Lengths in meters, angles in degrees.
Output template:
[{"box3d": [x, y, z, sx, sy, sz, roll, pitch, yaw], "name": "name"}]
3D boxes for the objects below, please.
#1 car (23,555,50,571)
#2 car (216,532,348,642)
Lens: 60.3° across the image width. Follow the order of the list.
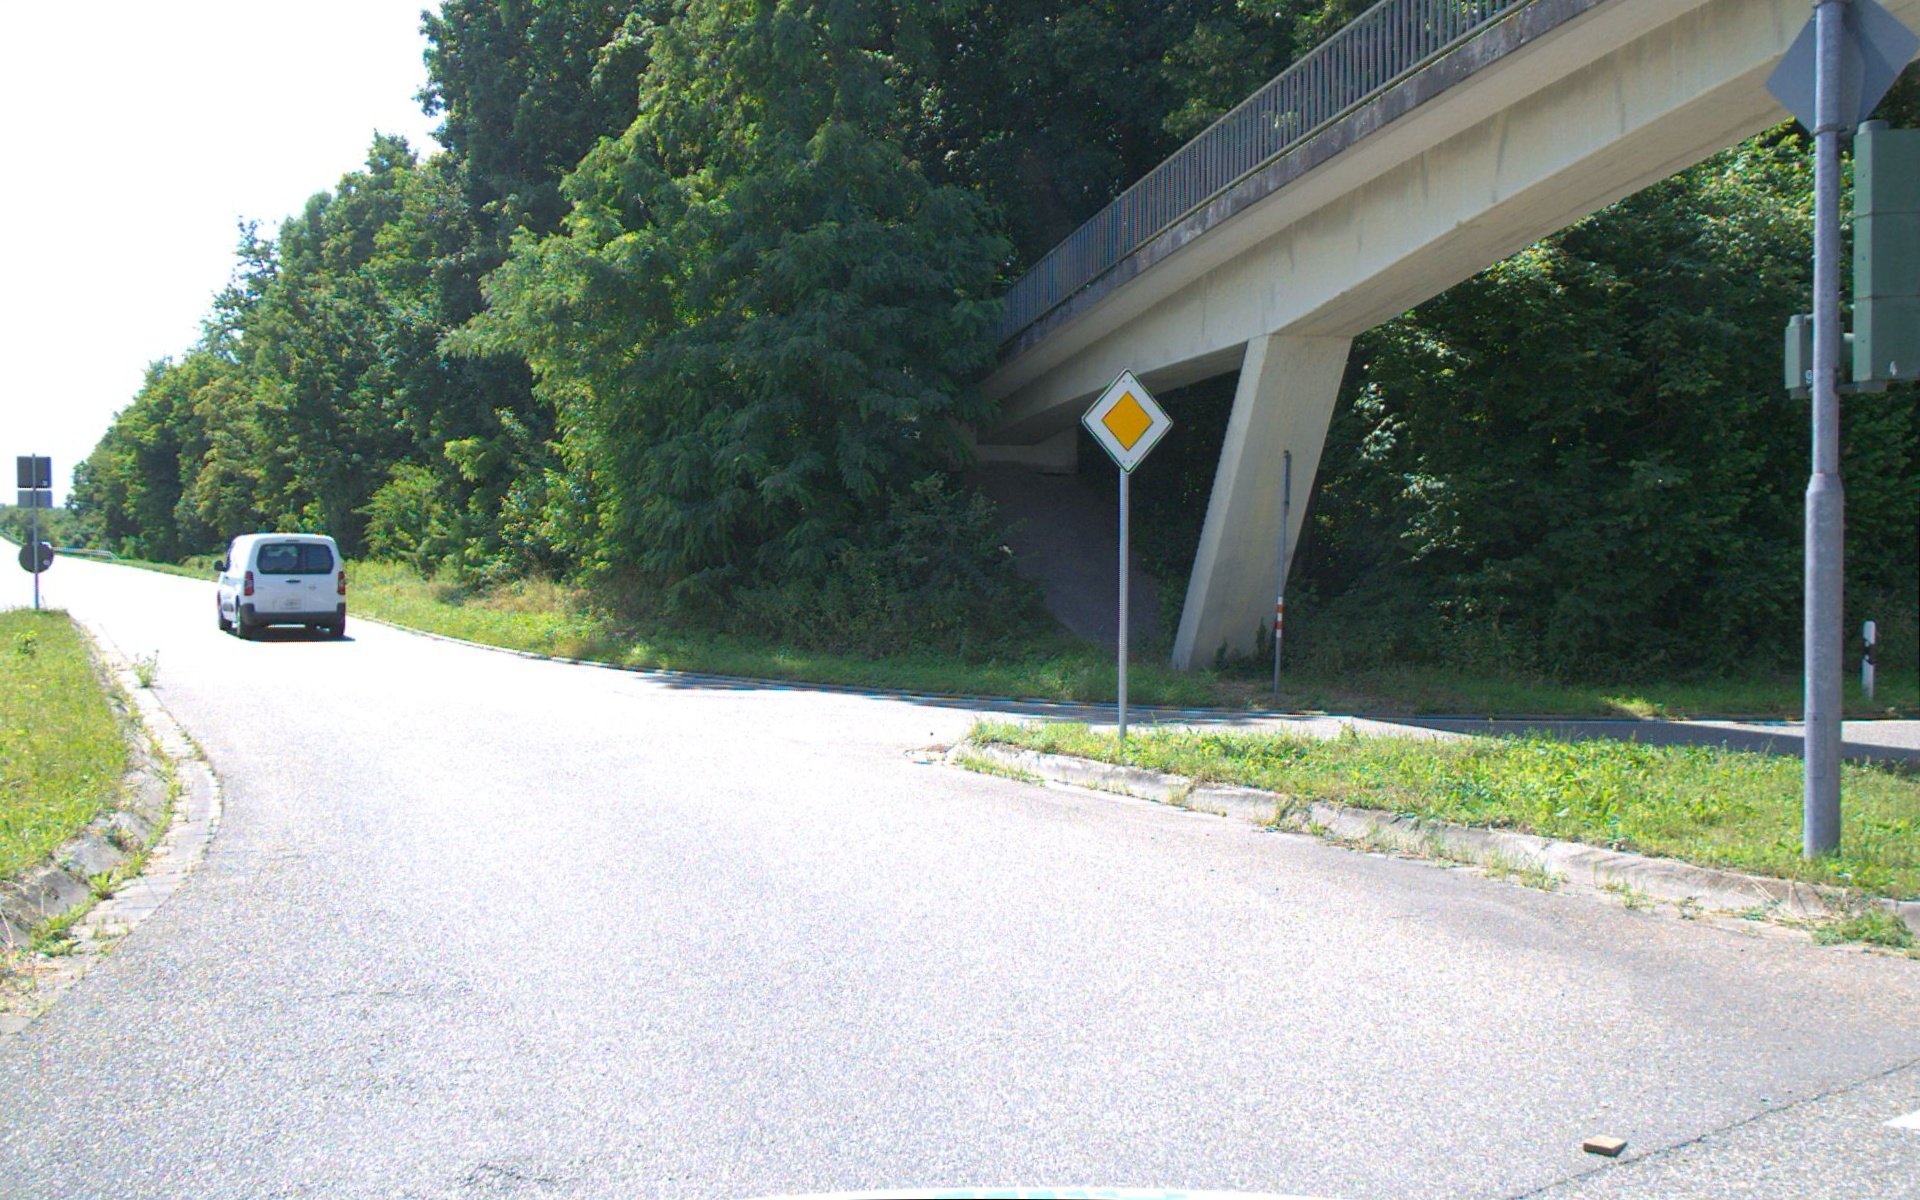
[{"box3d": [-80.172, -3.234, 143.645, 1.971, 1.397, 4.737, -1, 2, -28], "name": "car"}, {"box3d": [-12.437, -0.270, 30.221, 1.828, 1.857, 3.944, -1, 1, -28], "name": "car"}]
